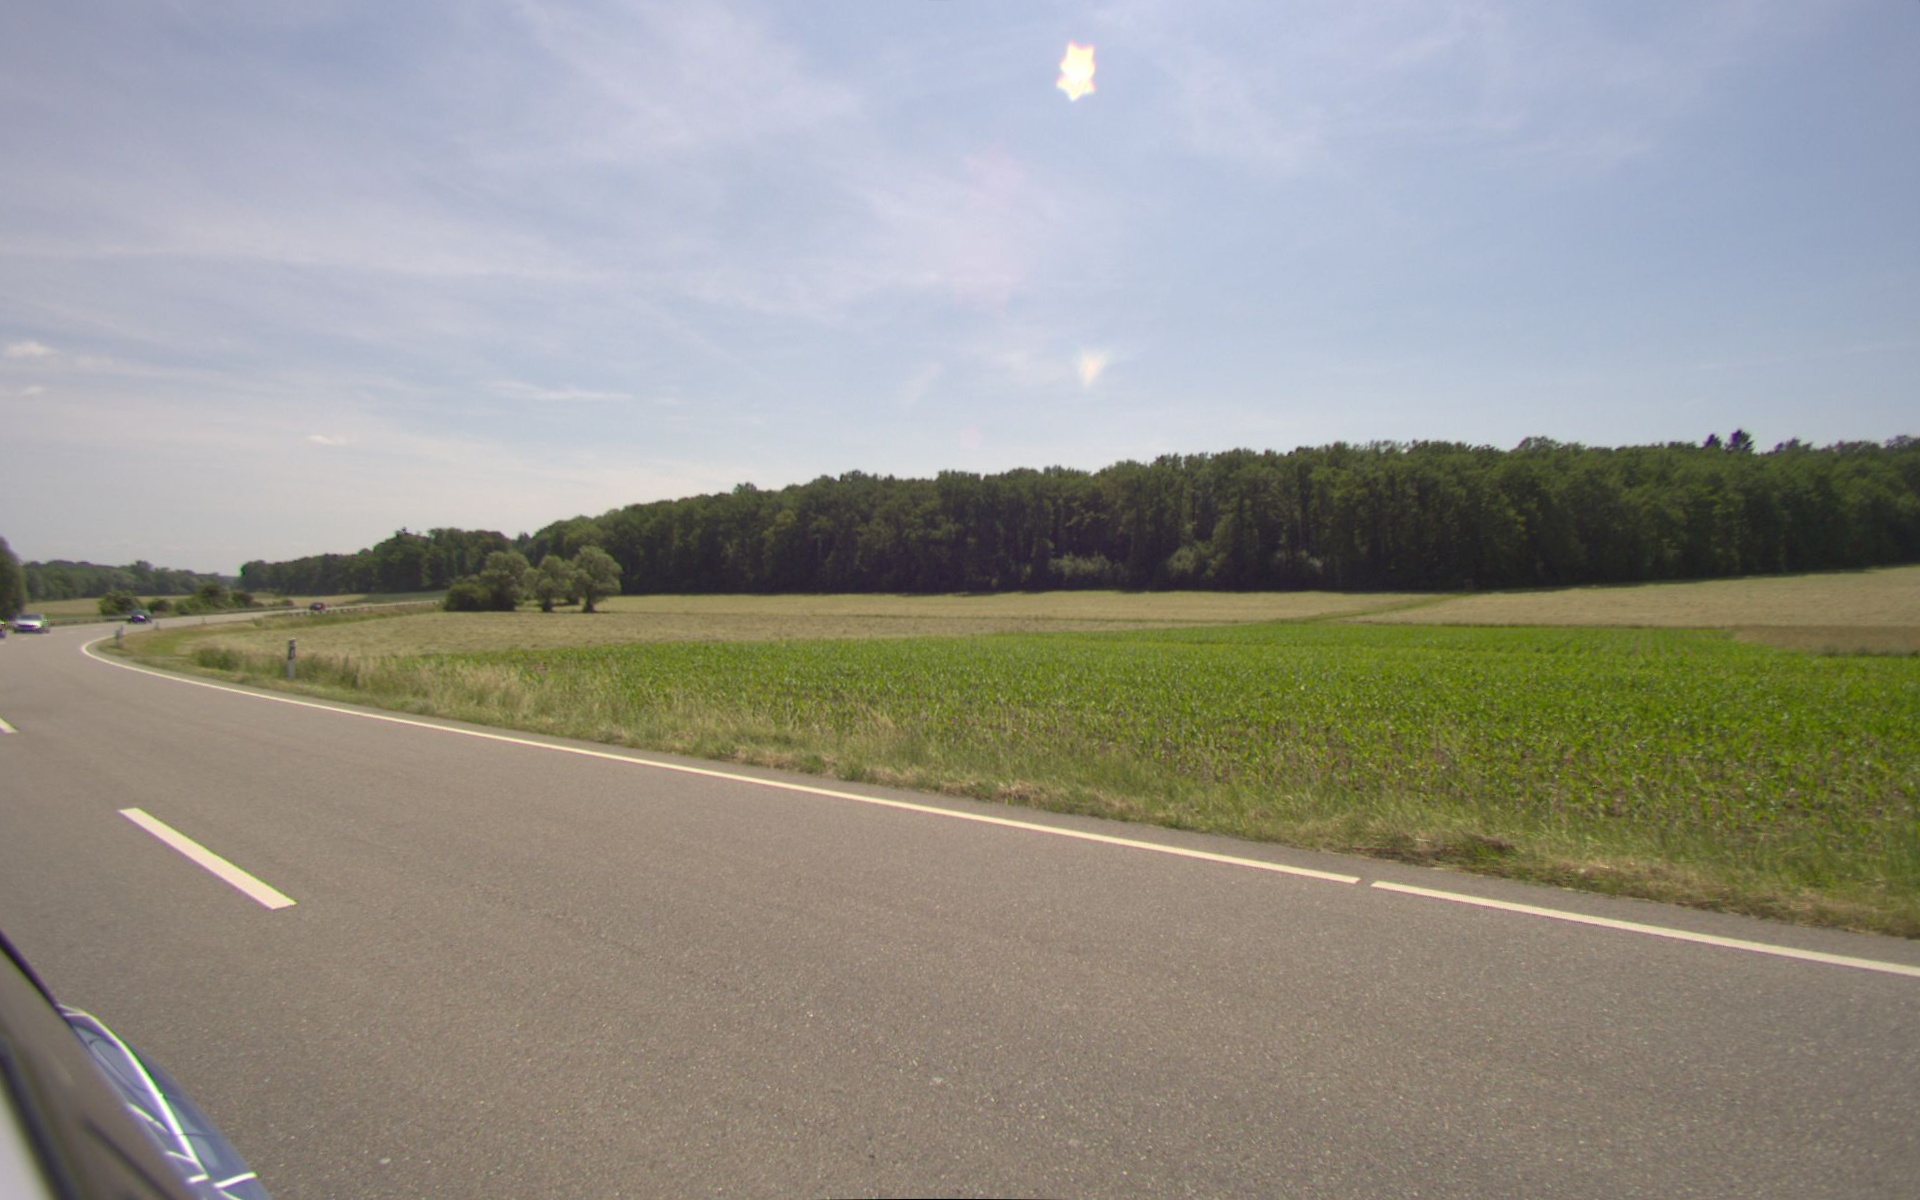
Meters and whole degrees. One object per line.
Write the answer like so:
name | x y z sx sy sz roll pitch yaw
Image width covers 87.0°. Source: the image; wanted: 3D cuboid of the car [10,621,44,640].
car | -73.817 2.399 80.128 1.596 1.447 3.451 0 -1 -36

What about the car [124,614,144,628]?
car | -96.286 2.440 118.007 1.596 1.447 3.452 0 1 -35

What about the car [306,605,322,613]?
car | -125.208 1.765 196.253 1.595 1.447 3.453 0 1 -15
